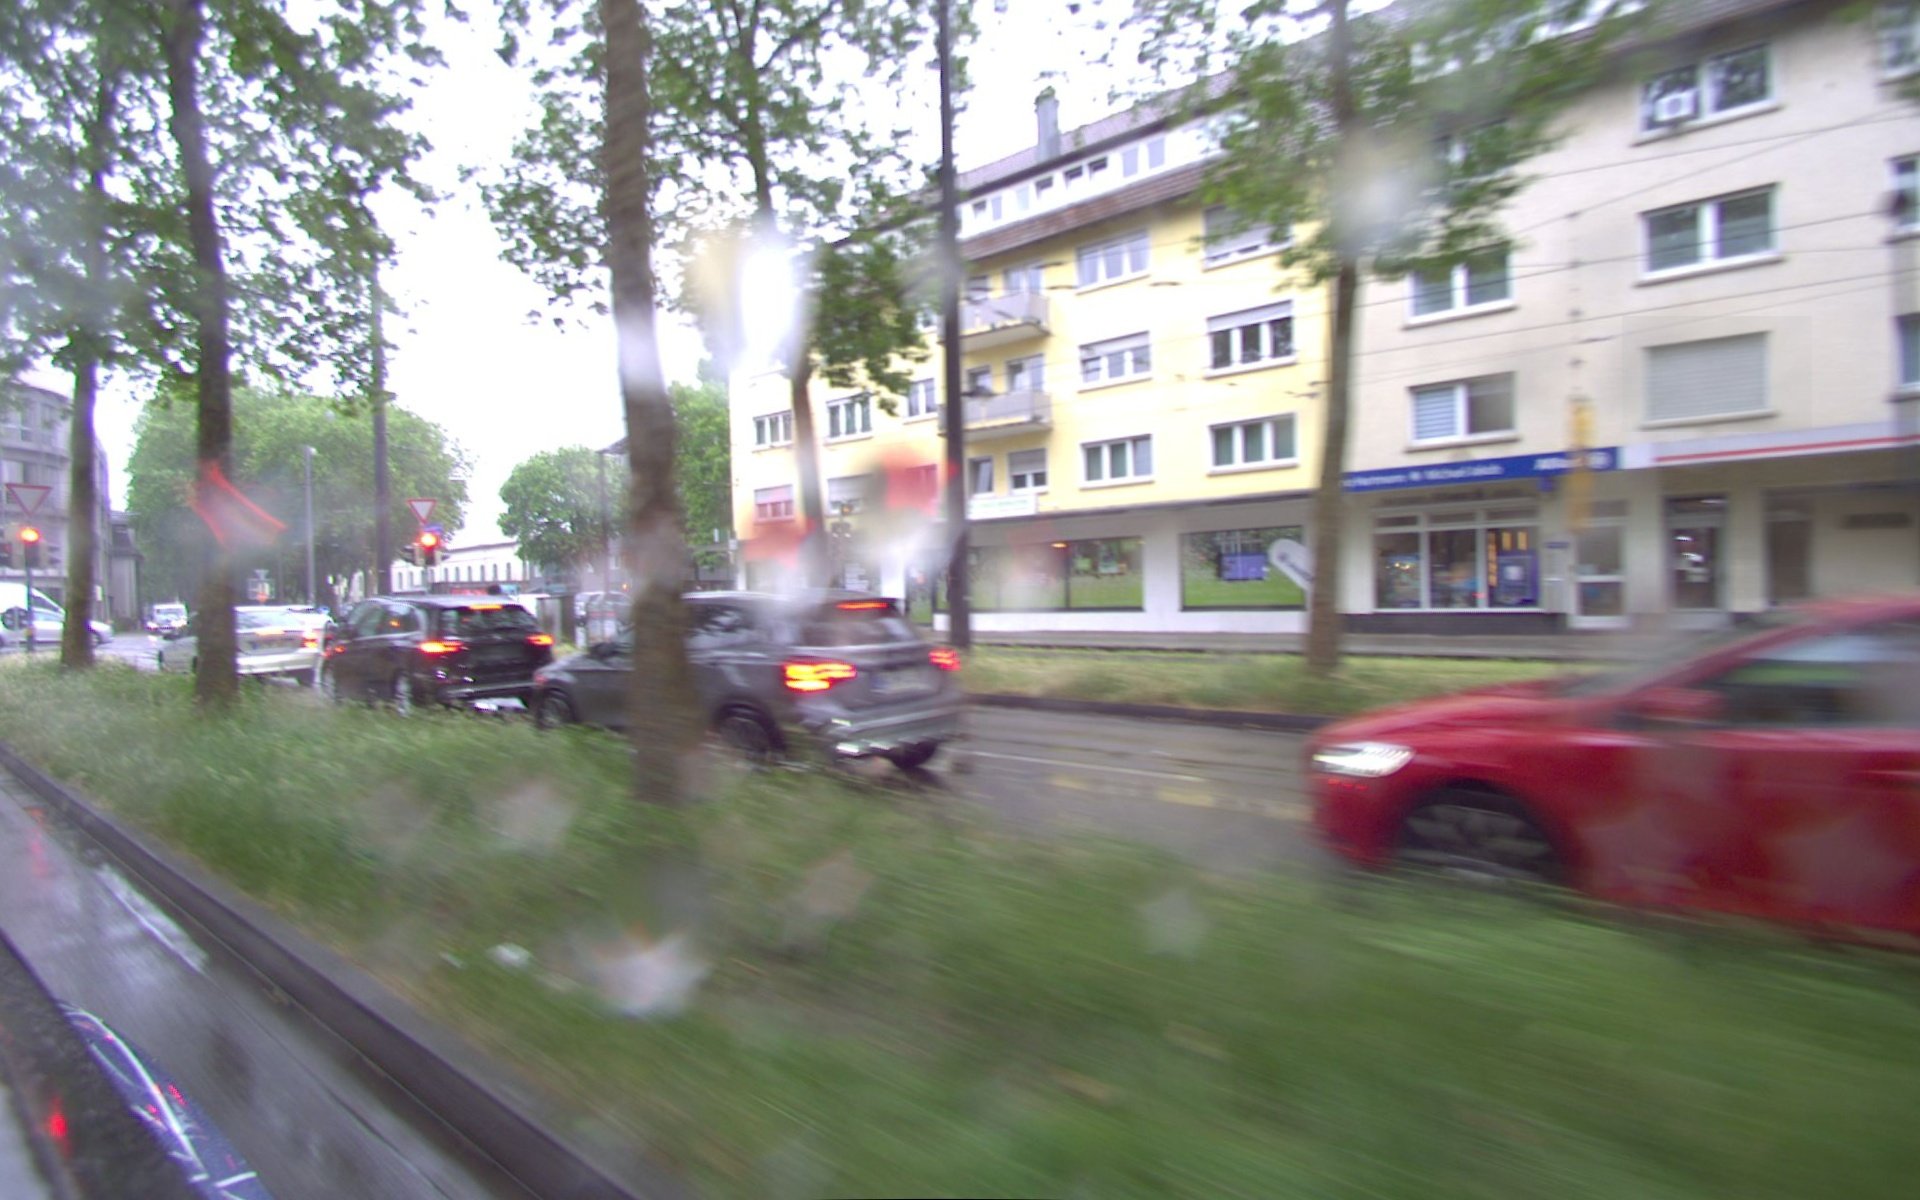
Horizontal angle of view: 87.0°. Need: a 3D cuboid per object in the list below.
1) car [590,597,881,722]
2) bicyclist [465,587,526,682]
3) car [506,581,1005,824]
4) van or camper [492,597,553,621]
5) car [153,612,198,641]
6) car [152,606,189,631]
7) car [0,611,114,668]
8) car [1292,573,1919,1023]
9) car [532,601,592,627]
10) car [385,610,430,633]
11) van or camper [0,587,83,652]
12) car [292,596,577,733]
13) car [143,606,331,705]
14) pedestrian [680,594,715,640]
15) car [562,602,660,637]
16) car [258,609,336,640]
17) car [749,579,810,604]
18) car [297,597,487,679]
[{"bbox_3d":[-3.138,0.725,13.689,4.128,1.408,1.723,-2,0,42],"label":"car"},{"bbox_3d":[-8.656,0.621,18.853,0.889,1.729,0.705,0,1,38],"label":"bicyclist"},{"bbox_3d":[-1.899,0.668,8.390,4.430,1.491,1.723,-2,0,42],"label":"car"},{"bbox_3d":[-39.061,0.831,90.401,4.581,2.091,2.004,0,-1,-40],"label":"van or camper"},{"bbox_3d":[-53.080,1.784,68.534,1.773,1.785,4.012,-3,1,-30],"label":"car"},{"bbox_3d":[-57.468,1.315,73.701,1.972,1.785,4.009,0,0,-36],"label":"car"},{"bbox_3d":[-31.415,1.295,33.986,1.970,1.754,4.222,0,1,31],"label":"car"},{"bbox_3d":[3.647,0.606,3.772,4.231,1.408,1.723,-2,0,41],"label":"car"},{"bbox_3d":[-33.293,1.121,84.601,4.323,2.029,2.073,-1,1,-33],"label":"car"},{"bbox_3d":[-40.309,1.525,73.914,1.782,1.548,4.201,-1,0,-13],"label":"car"},{"bbox_3d":[-37.688,0.747,38.909,2.159,2.489,5.949,-1,0,12],"label":"van or camper"},{"bbox_3d":[-7.192,0.769,13.627,4.638,1.496,1.837,-2,0,41],"label":"car"},{"bbox_3d":[-12.912,0.918,17.957,4.498,1.500,1.717,-2,0,41],"label":"car"},{"bbox_3d":[-9.876,0.635,38.046,1.000,1.690,0.816,-1,0,-36],"label":"pedestrian"},{"bbox_3d":[-18.194,0.991,52.942,1.910,1.659,4.624,0,1,36],"label":"car"},{"bbox_3d":[-36.872,1.335,56.427,1.781,1.599,4.075,-1,1,-2],"label":"car"},{"bbox_3d":[-12.241,-0.565,68.702,3.765,1.470,1.894,2,-2,-20],"label":"car"},{"bbox_3d":[-11.902,0.760,21.121,4.276,1.513,1.856,-2,0,37],"label":"car"}]
